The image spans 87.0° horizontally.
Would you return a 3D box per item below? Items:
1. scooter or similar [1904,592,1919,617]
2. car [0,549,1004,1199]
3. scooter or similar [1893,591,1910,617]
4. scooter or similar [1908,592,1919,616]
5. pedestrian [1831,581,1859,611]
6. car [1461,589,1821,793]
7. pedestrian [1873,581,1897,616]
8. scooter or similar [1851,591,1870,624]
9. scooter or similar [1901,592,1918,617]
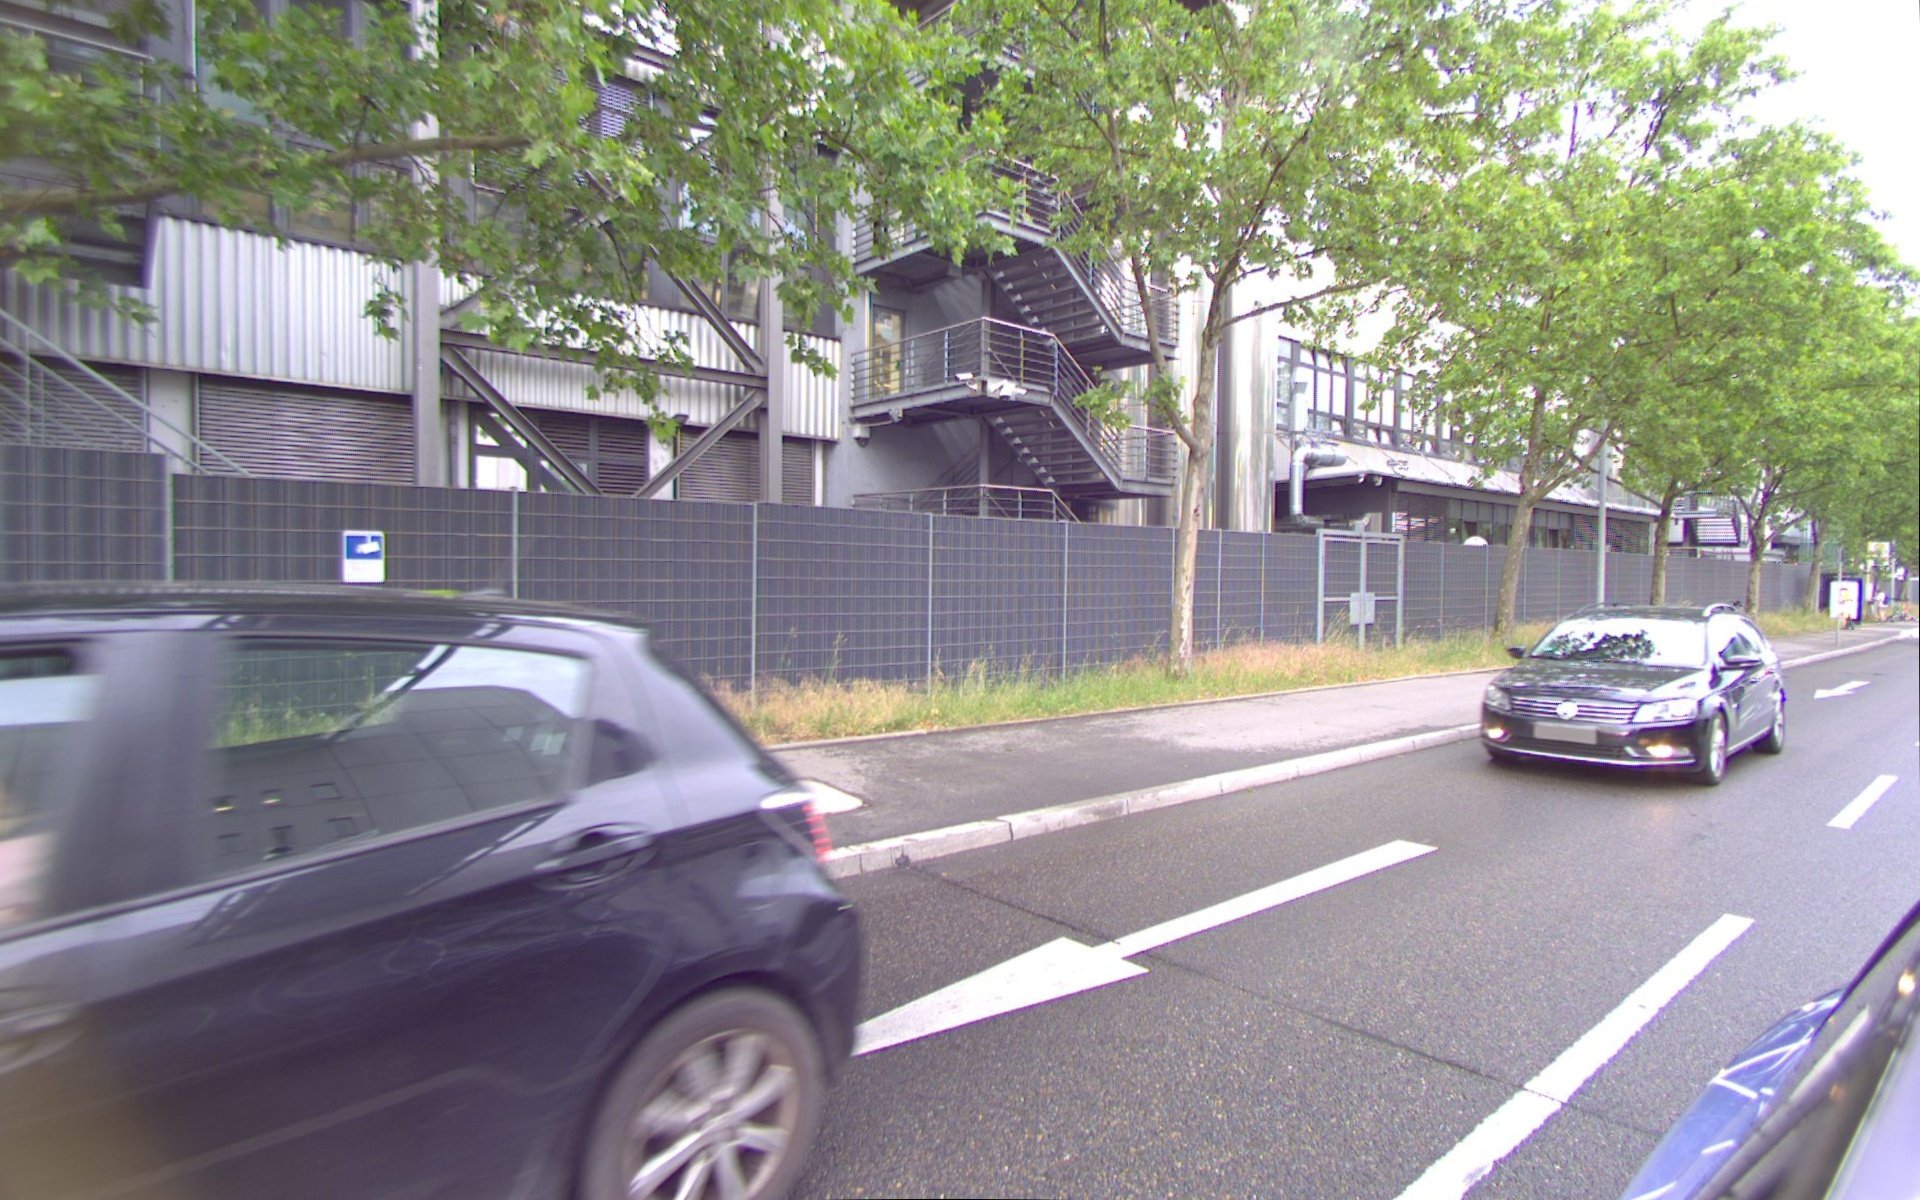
[{"bbox_3d":[51.036,0.216,54.270,1.277,1.311,0.437,0,1,-39],"label":"scooter or similar"},{"bbox_3d":[-1.974,0.666,1.850,4.010,1.512,1.877,0,3,-45],"label":"car"},{"bbox_3d":[48.399,0.209,52.005,1.277,1.311,0.437,0,1,-39],"label":"scooter or similar"},{"bbox_3d":[52.405,0.206,55.385,1.341,1.311,0.437,0,1,-34],"label":"scooter or similar"},{"bbox_3d":[42.821,-0.191,48.963,0.686,1.433,0.932,0,2,-42],"label":"pedestrian"},{"bbox_3d":[6.626,0.642,9.598,4.705,1.471,1.840,0,0,-43],"label":"car"},{"bbox_3d":[46.362,-0.077,50.719,0.717,1.731,0.777,0,1,-42],"label":"pedestrian"},{"bbox_3d":[37.317,0.313,41.918,1.222,1.325,0.329,0,1,-37],"label":"scooter or similar"},{"bbox_3d":[49.549,0.231,52.805,1.277,1.311,0.437,0,1,-39],"label":"scooter or similar"}]
